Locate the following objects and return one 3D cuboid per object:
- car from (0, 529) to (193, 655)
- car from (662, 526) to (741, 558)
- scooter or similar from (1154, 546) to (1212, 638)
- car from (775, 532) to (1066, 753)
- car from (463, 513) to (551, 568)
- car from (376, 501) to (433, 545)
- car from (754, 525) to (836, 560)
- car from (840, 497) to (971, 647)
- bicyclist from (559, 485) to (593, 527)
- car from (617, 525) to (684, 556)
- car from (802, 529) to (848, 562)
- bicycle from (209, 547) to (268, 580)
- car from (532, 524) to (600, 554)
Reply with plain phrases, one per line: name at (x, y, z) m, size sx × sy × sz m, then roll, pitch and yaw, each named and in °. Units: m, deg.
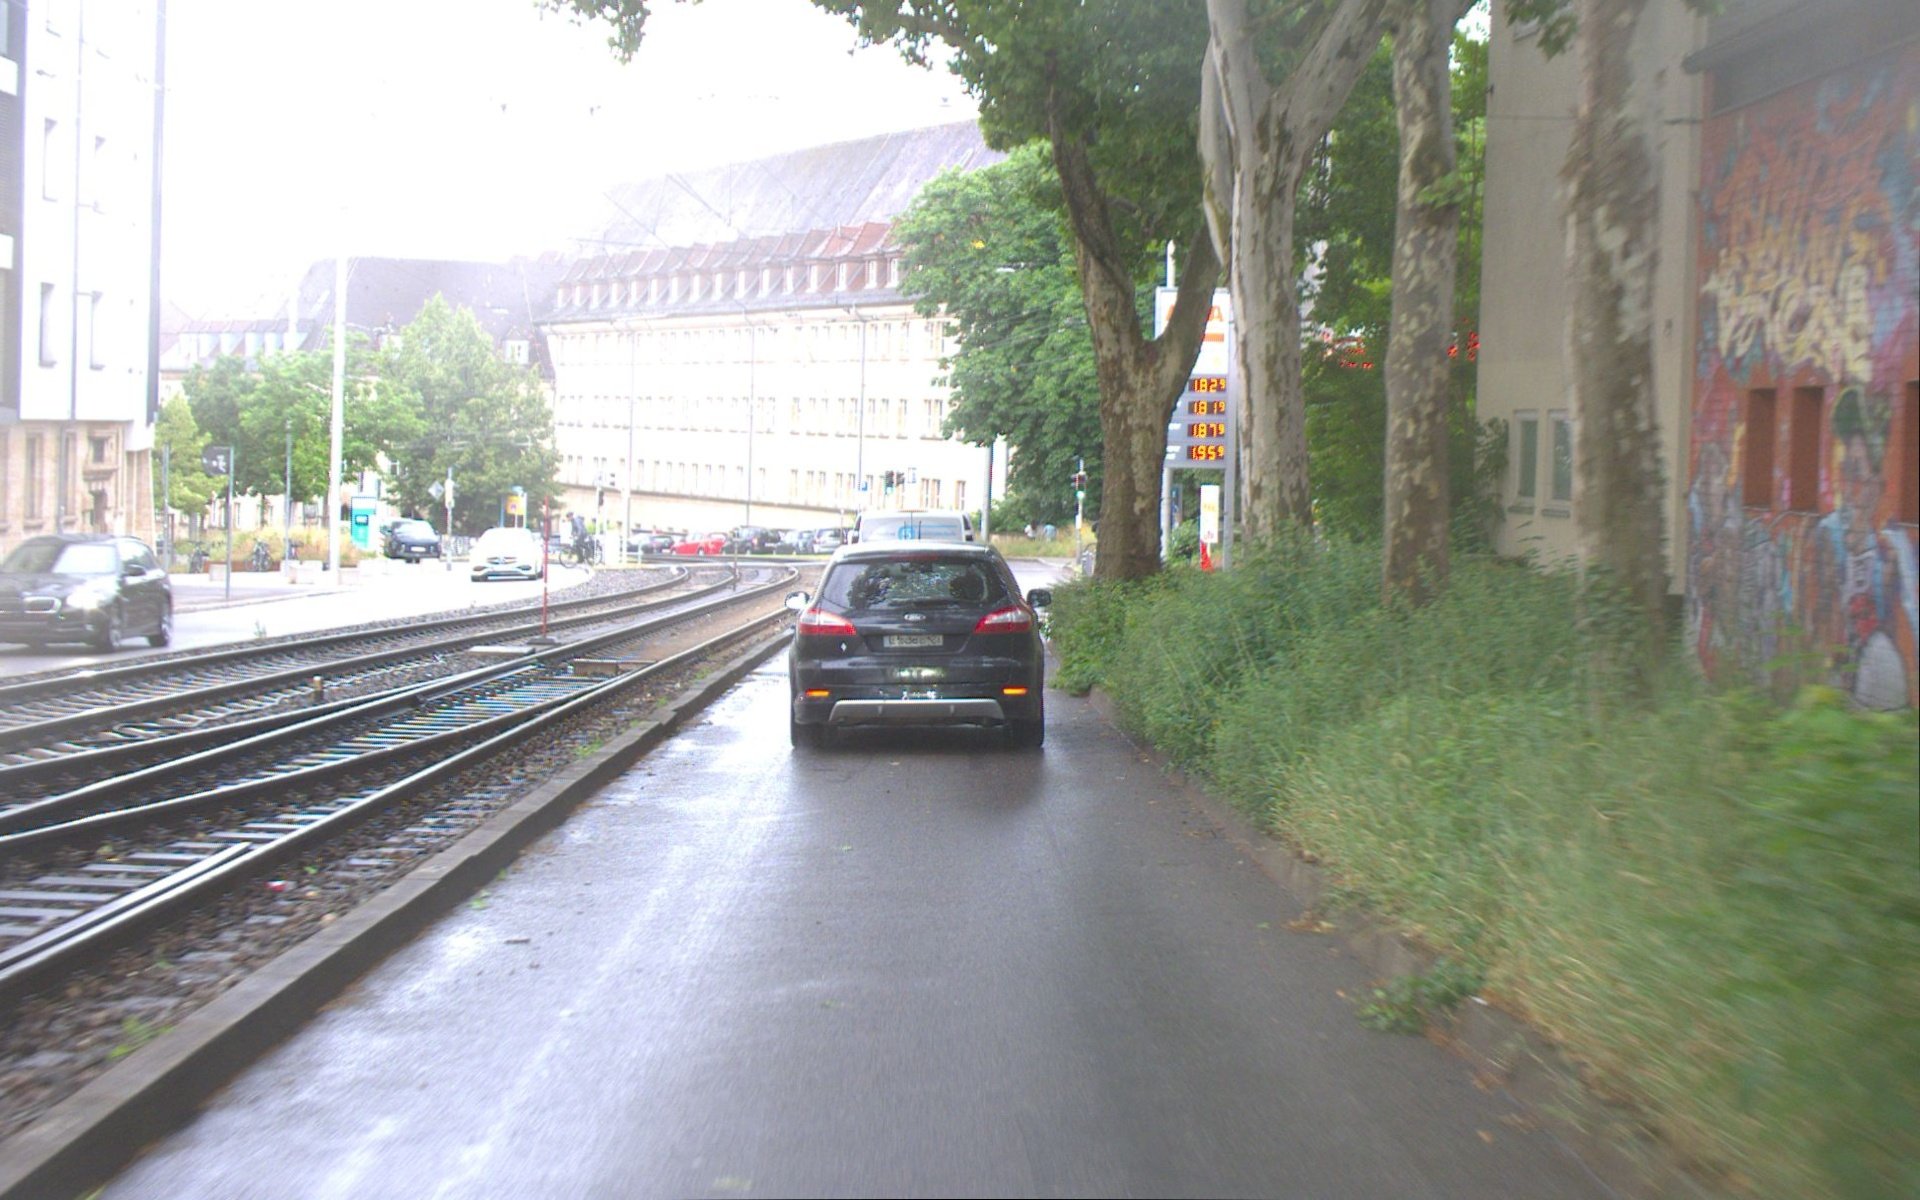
car at (-11.252, -0.147, 43.811) m, size 1.880 × 1.481 × 4.854 m, roll 1°, pitch 1°, yaw -1°
car at (-12.701, -2.851, 168.852) m, size 1.994 × 1.537 × 3.999 m, roll 0°, pitch 1°, yaw -37°
scooter or similar at (3.044, -0.098, 46.852) m, size 0.374 × 1.230 × 1.369 m, roll 0°, pitch -1°, yaw 21°
car at (-0.337, 0.263, 25.582) m, size 1.933 × 1.448 × 4.318 m, roll 2°, pitch 1°, yaw -2°
car at (-12.774, -1.679, 97.203) m, size 1.799 × 1.477 × 4.840 m, roll 1°, pitch 1°, yaw 0°
car at (-20.567, -2.831, 127.122) m, size 1.993 × 1.537 × 4.001 m, roll 1°, pitch 1°, yaw -10°
car at (-7.674, -2.674, 159.670) m, size 1.994 × 1.537 × 4.000 m, roll 0°, pitch 1°, yaw -35°
car at (-0.737, -0.408, 48.786) m, size 1.740 × 2.007 × 3.904 m, roll 1°, pitch 1°, yaw 0°
bicyclist at (-12.253, -3.000, 109.569) m, size 0.772 × 1.309 × 0.791 m, roll -1°, pitch 2°, yaw -37°
car at (-15.660, -3.033, 173.638) m, size 1.993 × 1.537 × 4.001 m, roll -1°, pitch 2°, yaw -28°
car at (-6.138, -2.462, 155.846) m, size 1.657 × 1.471 × 3.645 m, roll 1°, pitch 1°, yaw -9°
bicycle at (-23.636, -1.206, 112.595) m, size 1.813 × 1.057 × 0.570 m, roll 1°, pitch 1°, yaw -3°
car at (-20.772, -3.223, 181.175) m, size 1.993 × 1.537 × 4.000 m, roll 0°, pitch 1°, yaw -33°
